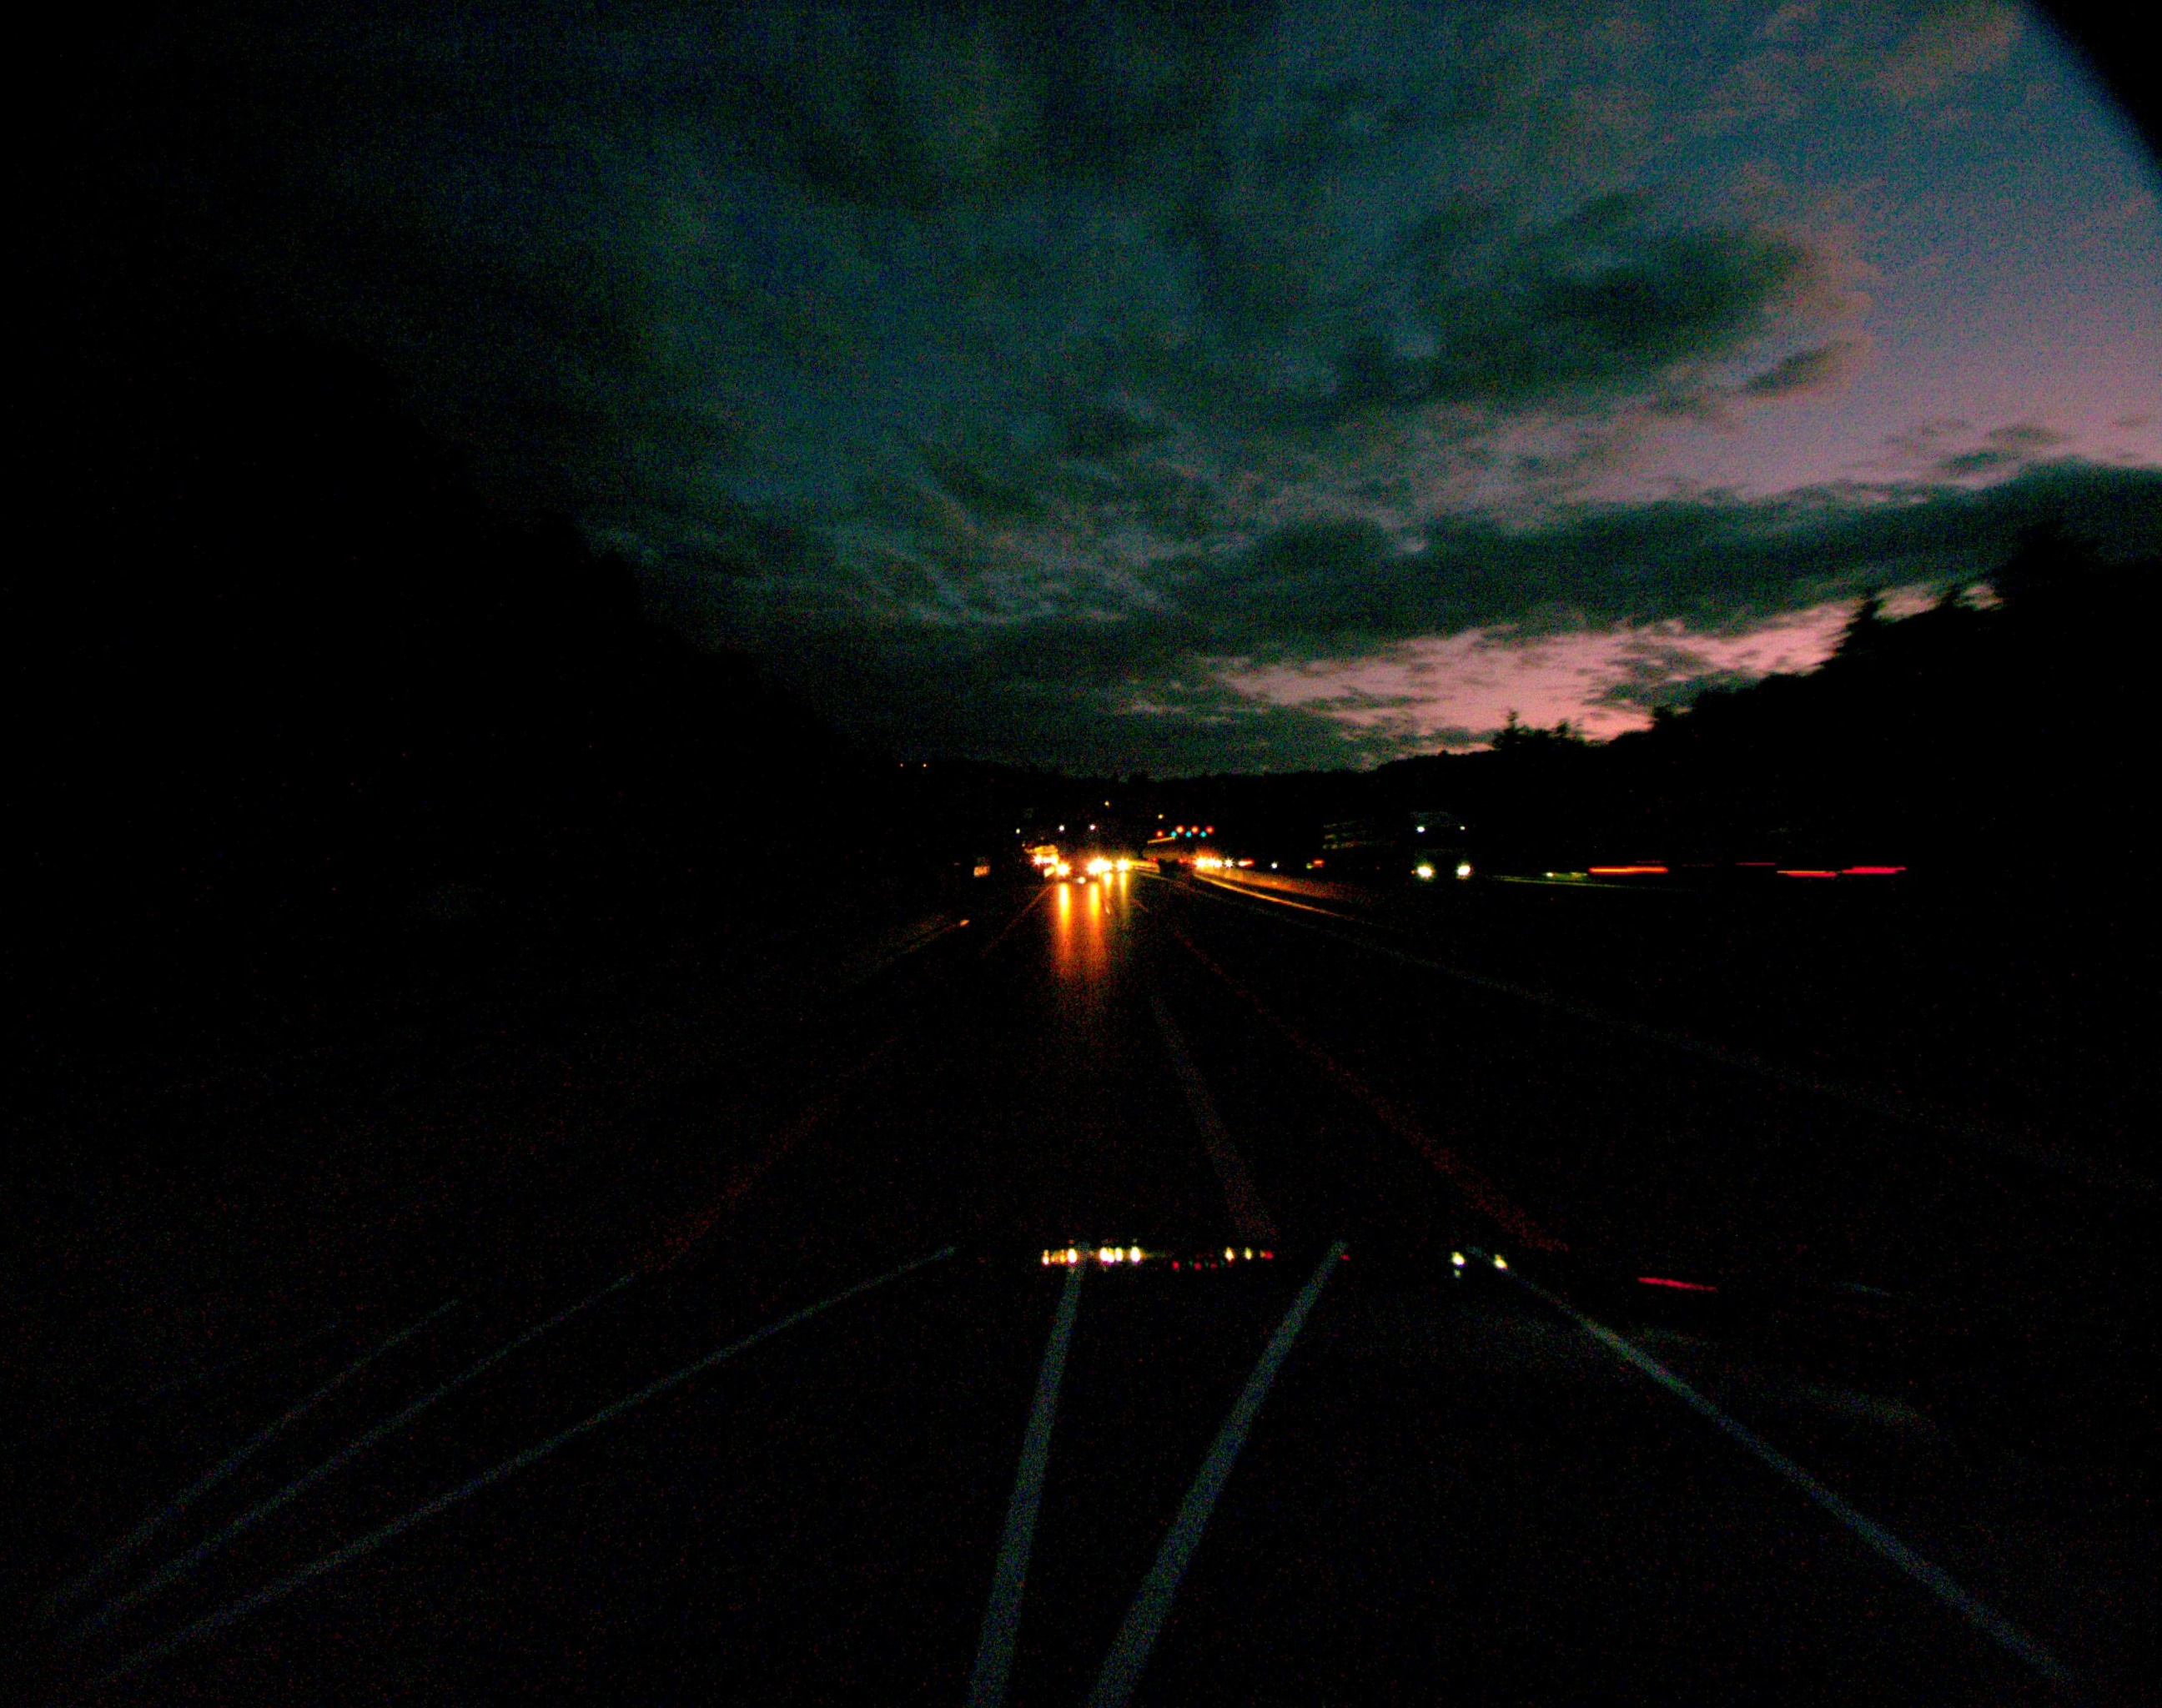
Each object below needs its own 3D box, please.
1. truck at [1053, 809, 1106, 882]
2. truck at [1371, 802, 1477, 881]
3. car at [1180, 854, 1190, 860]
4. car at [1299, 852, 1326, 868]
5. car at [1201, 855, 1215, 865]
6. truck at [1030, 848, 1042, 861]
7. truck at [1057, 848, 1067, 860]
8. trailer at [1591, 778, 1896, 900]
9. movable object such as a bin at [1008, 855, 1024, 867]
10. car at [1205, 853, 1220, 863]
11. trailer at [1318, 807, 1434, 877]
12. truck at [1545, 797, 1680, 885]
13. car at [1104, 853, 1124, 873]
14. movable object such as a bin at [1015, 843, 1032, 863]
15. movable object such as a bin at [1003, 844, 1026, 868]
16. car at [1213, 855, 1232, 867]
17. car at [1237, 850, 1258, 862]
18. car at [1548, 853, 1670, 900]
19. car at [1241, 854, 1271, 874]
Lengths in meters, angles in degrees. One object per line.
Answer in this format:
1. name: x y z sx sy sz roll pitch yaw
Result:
1. truck: -0.175 -0.568 51.335 2.954 4.241 11.050 -3 1 -1
2. truck: 18.108 -0.642 40.582 2.809 3.753 6.302 -3 1 2
3. car: 26.467 0.786 192.999 1.815 1.476 4.701 -3 1 1
4. car: 25.741 0.614 84.654 1.595 1.594 5.034 -3 1 3
5. car: 19.891 0.885 118.876 1.509 1.472 3.824 -3 1 0
6. truck: -12.437 0.102 210.644 2.825 3.267 8.350 -3 1 -2
7. truck: -5.077 -0.026 203.549 1.998 2.817 6.297 -3 1 5
8. trailer: 27.484 -0.585 32.967 2.785 4.181 12.403 -3 1 3
9. movable object such as a bin: -9.085 0.939 106.618 1.999 1.592 4.083 0 1 -1
10. car: 24.335 0.702 140.742 1.808 1.628 4.751 -3 1 1
11. trailer: 18.278 -0.712 48.225 2.806 3.761 11.834 -3 1 1
12. truck: 27.853 -0.665 40.207 2.783 4.147 6.386 -3 1 3
13. car: 3.042 0.795 68.937 1.662 1.586 3.997 -3 1 4
14. movable object such as a bin: -9.431 -0.165 125.048 2.571 3.299 5.577 0 1 -2
15. movable object such as a bin: -8.849 0.231 101.654 2.628 3.090 5.804 -1 1 -2
16. car: 19.497 1.001 104.836 1.792 1.472 3.999 -3 1 0
17. car: 22.891 0.262 104.700 1.741 1.628 4.891 -3 1 1
18. car: 21.733 0.880 31.534 1.998 1.666 4.516 -3 1 3
19. car: 18.735 1.057 81.707 2.096 1.873 4.700 -3 1 0
